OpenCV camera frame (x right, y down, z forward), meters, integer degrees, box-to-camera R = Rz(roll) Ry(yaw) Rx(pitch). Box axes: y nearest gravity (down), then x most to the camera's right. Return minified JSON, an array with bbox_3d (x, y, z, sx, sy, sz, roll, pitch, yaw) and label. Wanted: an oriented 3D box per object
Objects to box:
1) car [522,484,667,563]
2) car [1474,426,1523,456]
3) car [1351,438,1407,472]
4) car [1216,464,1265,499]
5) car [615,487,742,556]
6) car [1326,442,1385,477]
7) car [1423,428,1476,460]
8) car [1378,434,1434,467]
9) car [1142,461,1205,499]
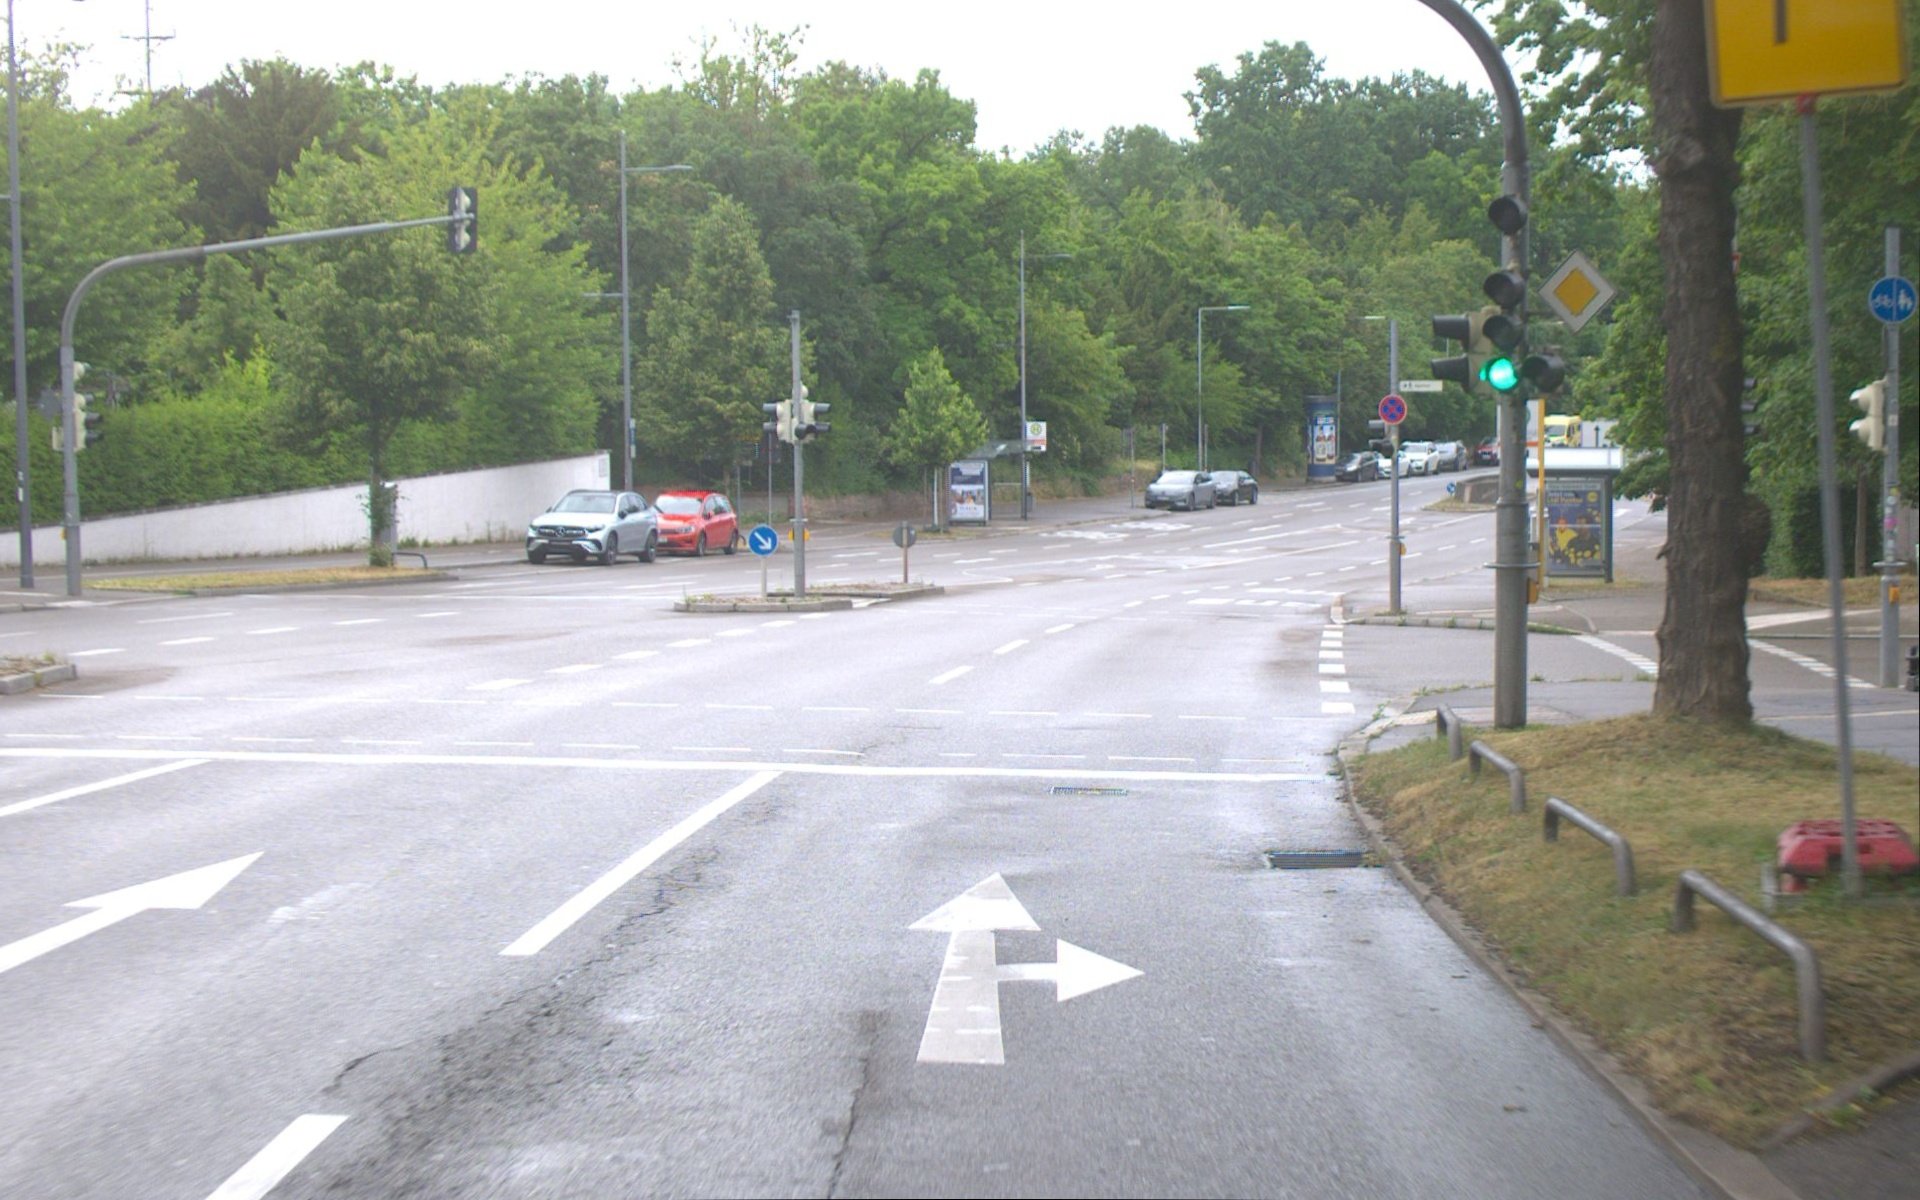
[{"bbox_3d":[-8.193,-1.752,77.456,1.854,1.634,4.091,3,3,15],"label":"car"},{"bbox_3d":[31.212,-9.231,199.353,1.958,1.480,3.997,3,6,21],"label":"car"},{"bbox_3d":[21.388,-7.406,175.227,1.861,1.480,3.997,3,6,21],"label":"car"},{"bbox_3d":[11.670,-4.926,142.875,1.417,1.419,3.120,1,2,16],"label":"car"},{"bbox_3d":[-6.869,-1.935,84.299,1.876,1.569,4.221,3,2,13],"label":"car"},{"bbox_3d":[19.638,-6.988,170.596,1.958,1.480,3.997,3,6,21],"label":"car"},{"bbox_3d":[26.737,-8.522,187.754,1.958,1.480,3.997,3,6,21],"label":"car"},{"bbox_3d":[23.341,-7.823,179.904,1.958,1.480,3.997,3,6,21],"label":"car"},{"bbox_3d":[8.525,-4.782,137.191,1.714,1.455,3.748,1,2,16],"label":"car"}]
